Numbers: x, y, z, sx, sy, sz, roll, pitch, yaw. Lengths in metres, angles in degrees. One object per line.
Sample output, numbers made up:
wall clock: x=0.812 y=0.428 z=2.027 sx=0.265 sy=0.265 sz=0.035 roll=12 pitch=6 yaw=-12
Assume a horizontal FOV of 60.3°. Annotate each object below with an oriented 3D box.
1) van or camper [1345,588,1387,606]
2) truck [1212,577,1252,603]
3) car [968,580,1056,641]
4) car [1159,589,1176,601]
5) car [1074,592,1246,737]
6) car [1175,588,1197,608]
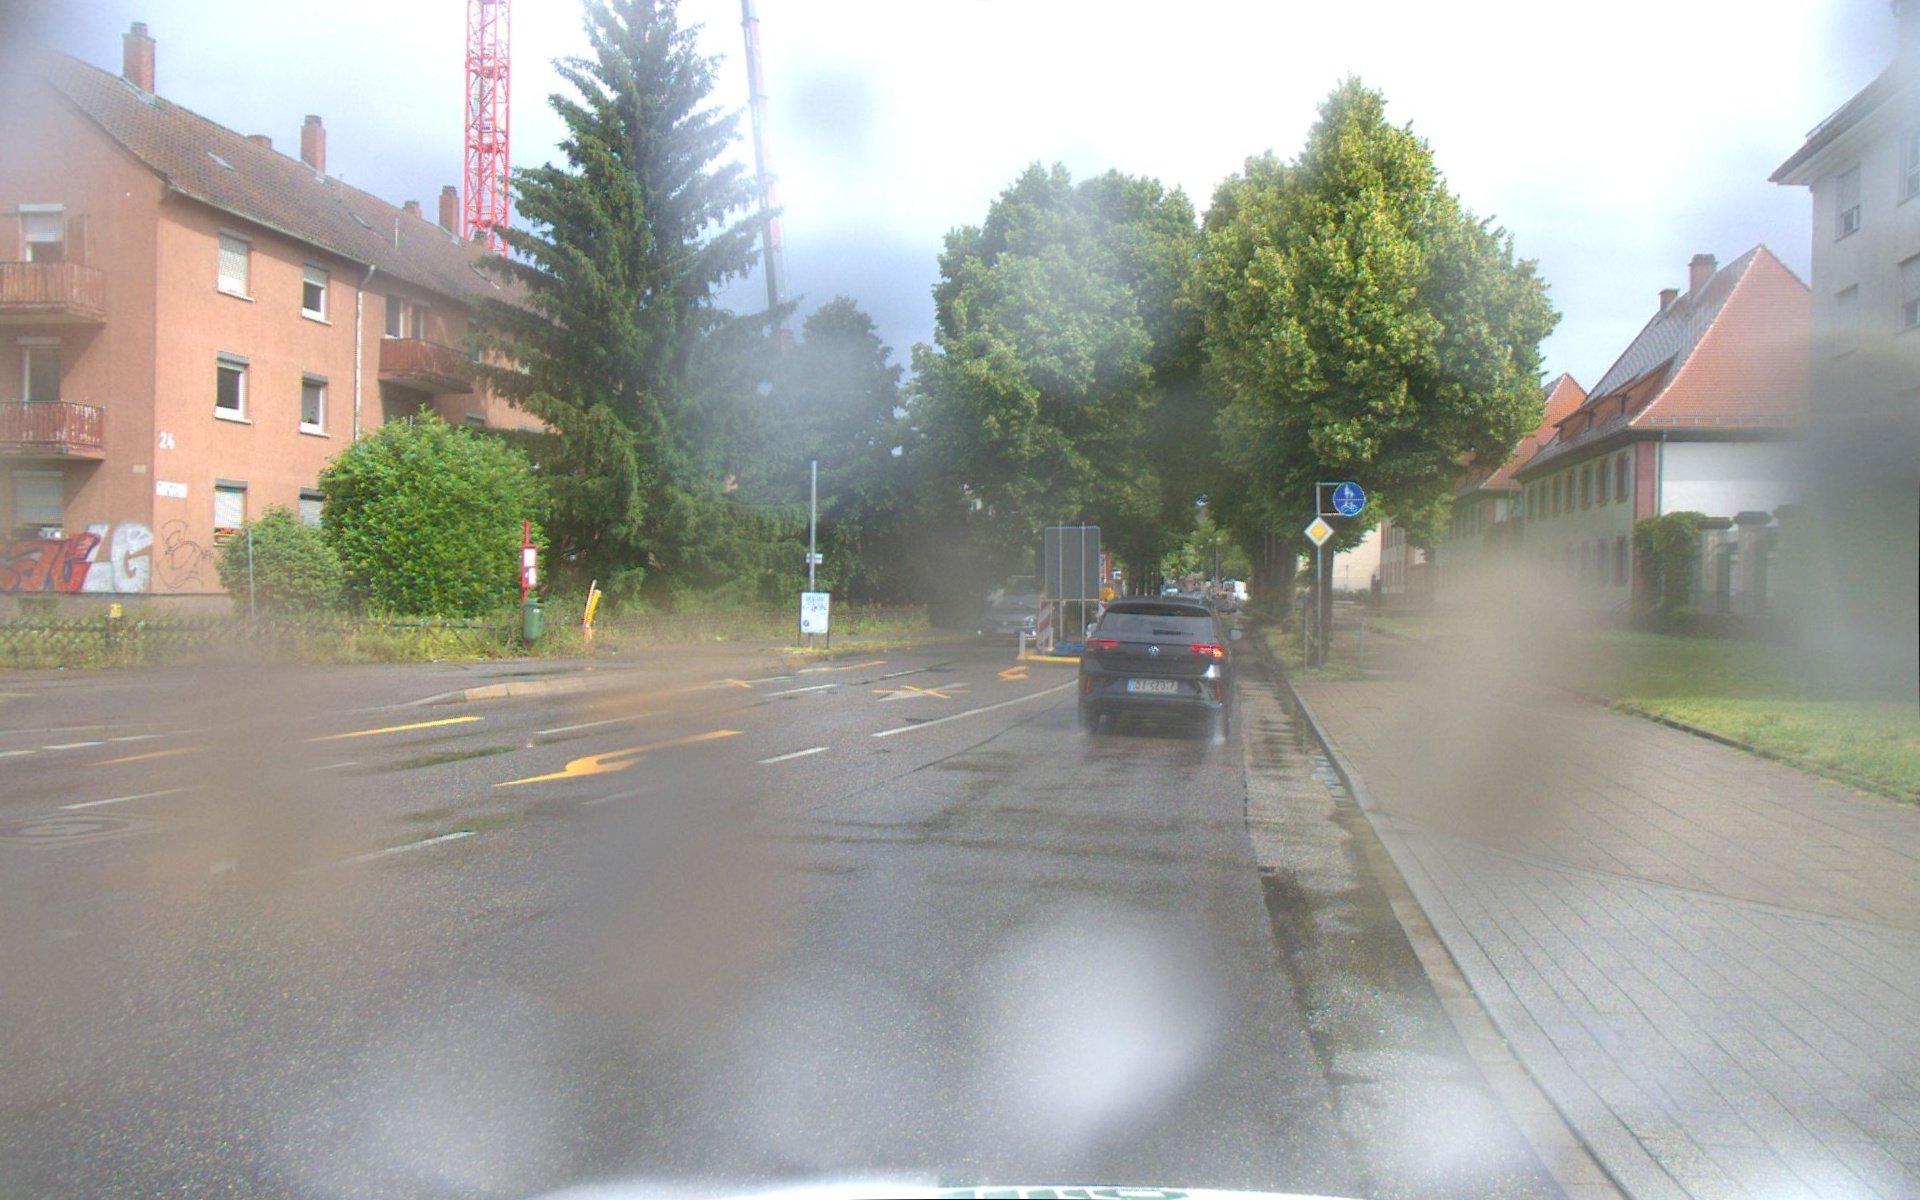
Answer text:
van or camper: x=48.764 y=-0.344 z=198.828 sx=4.771 sy=1.959 sz=2.133 roll=2 pitch=1 yaw=10
truck: x=29.642 y=-1.104 z=180.400 sx=2.748 sy=2.703 sz=8.239 roll=1 pitch=1 yaw=-1
car: x=1.426 y=0.251 z=44.000 sx=1.644 sy=1.534 sz=3.797 roll=1 pitch=1 yaw=12
car: x=26.508 y=-0.624 z=211.210 sx=1.557 sy=1.538 sz=3.734 roll=-2 pitch=0 yaw=15
car: x=2.452 y=0.700 z=20.310 sx=1.854 sy=1.549 sz=4.003 roll=2 pitch=0 yaw=7
car: x=20.486 y=-0.194 z=149.707 sx=1.846 sy=1.743 sz=4.233 roll=0 pitch=1 yaw=10
